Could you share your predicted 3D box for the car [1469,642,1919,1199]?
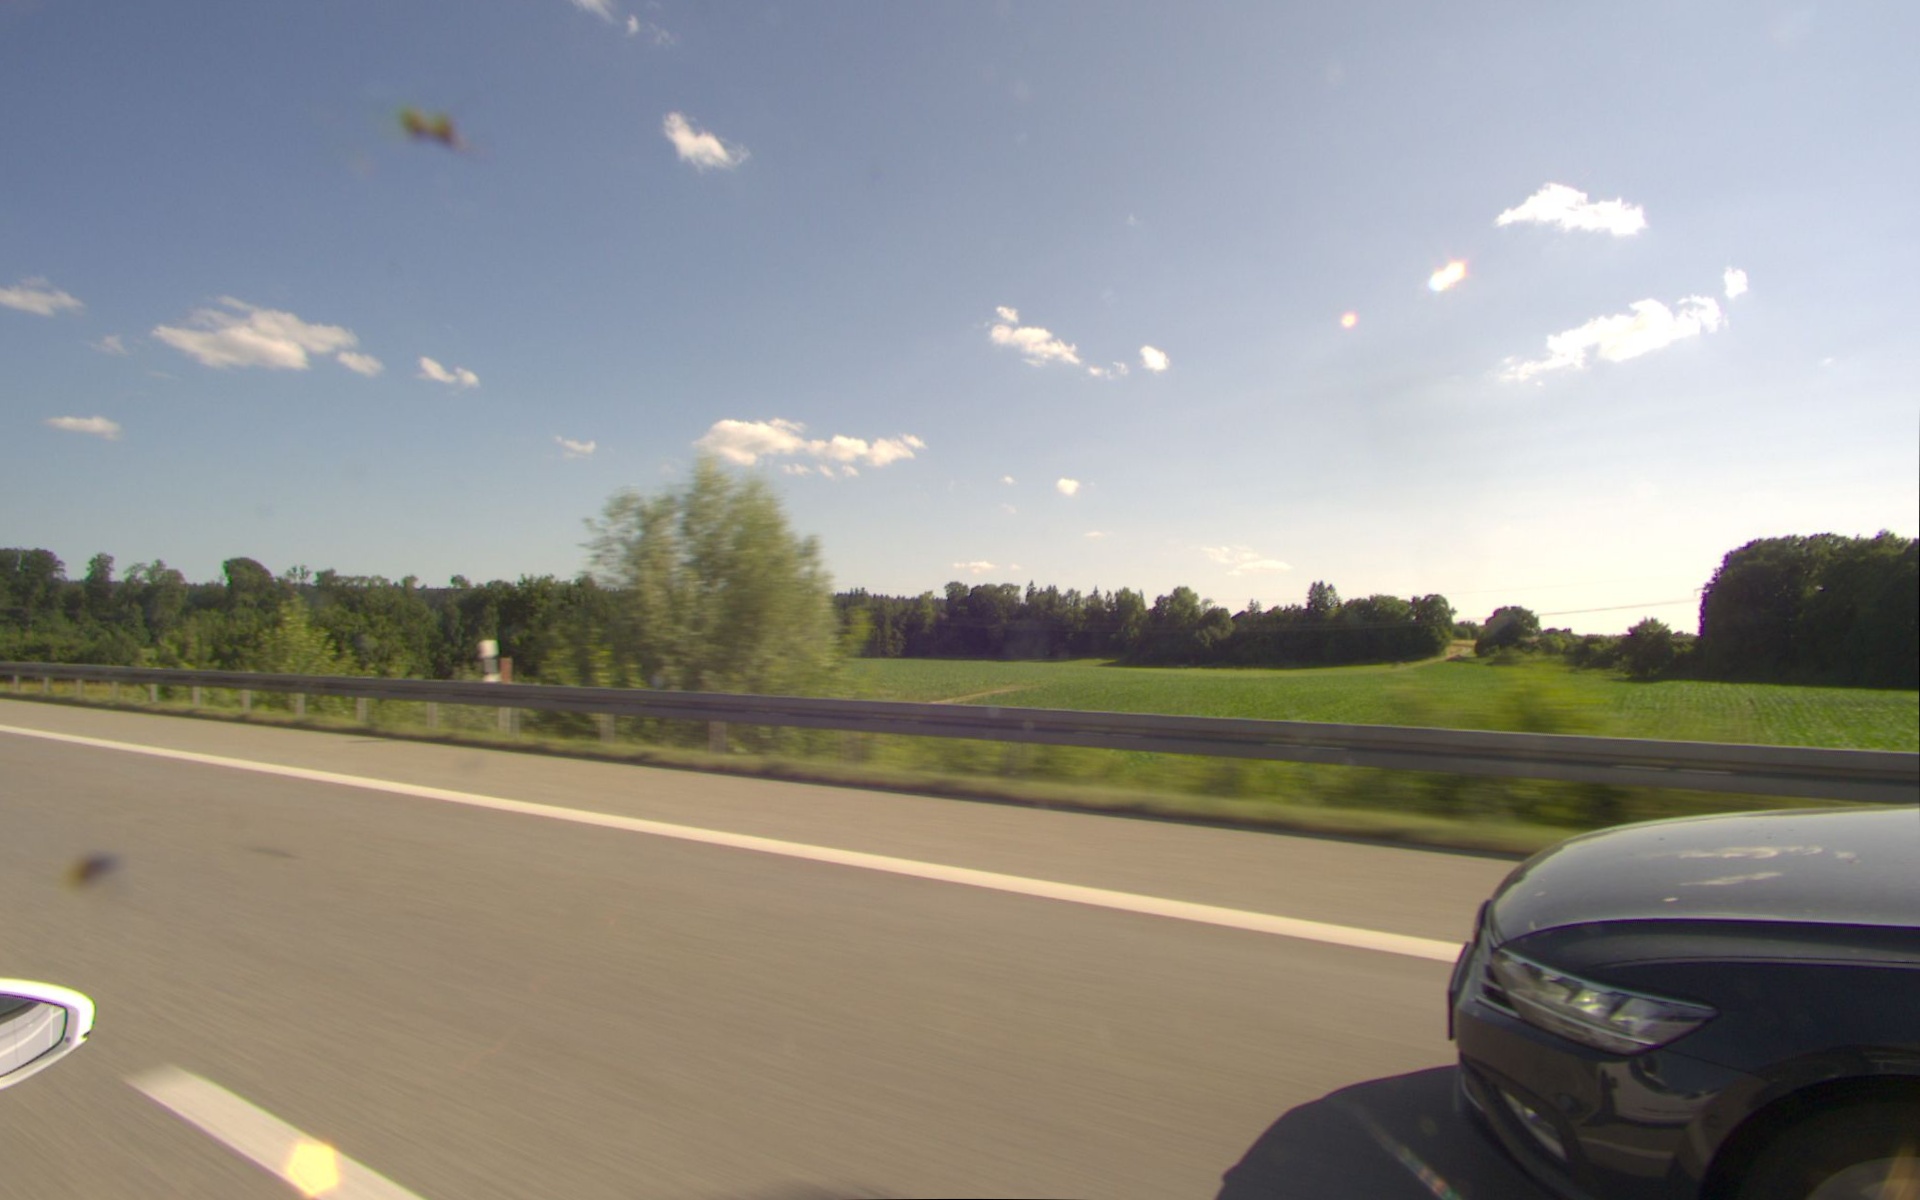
[{"bbox_3d":[3.355,0.796,1.666,4.350,1.417,1.716,-1,-2,32],"label":"car"}]
